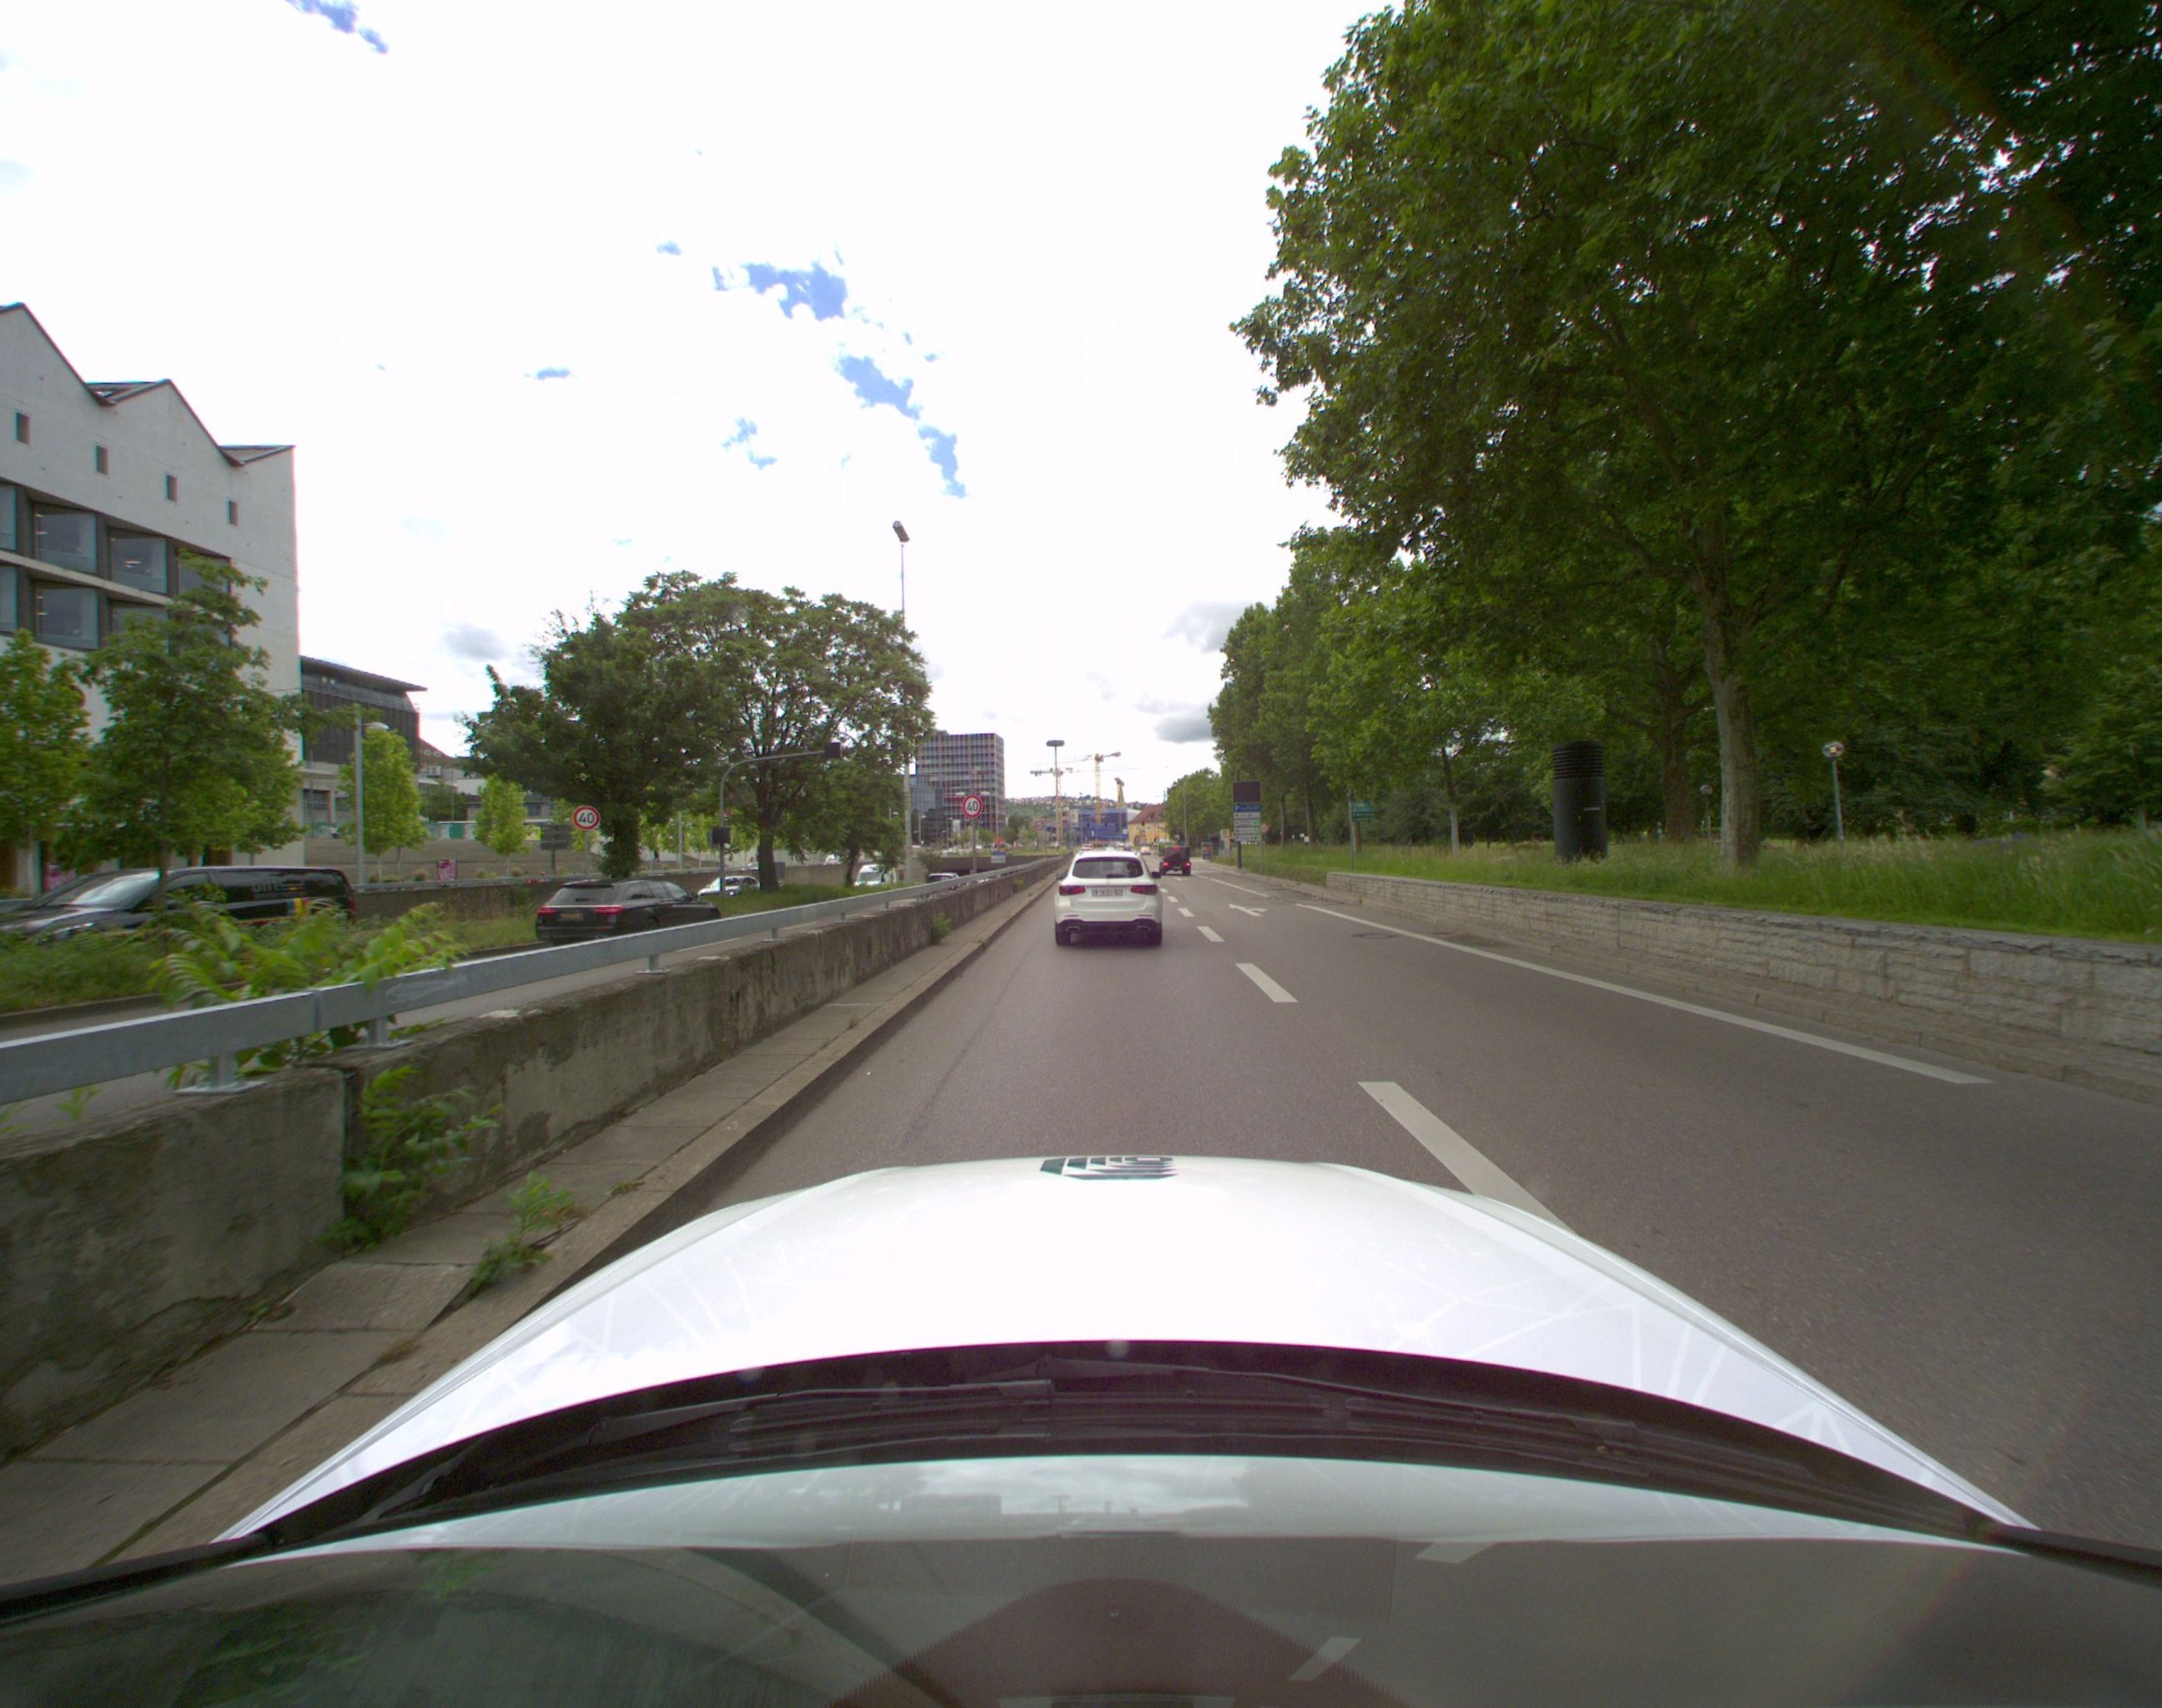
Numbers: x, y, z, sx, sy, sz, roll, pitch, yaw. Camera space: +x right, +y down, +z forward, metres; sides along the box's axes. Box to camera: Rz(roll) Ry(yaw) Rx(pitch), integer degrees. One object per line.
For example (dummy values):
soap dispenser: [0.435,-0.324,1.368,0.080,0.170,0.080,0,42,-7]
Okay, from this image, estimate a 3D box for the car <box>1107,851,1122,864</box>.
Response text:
car: [4.776,0.465,117.360,1.987,1.781,3.999,1,-1,0]

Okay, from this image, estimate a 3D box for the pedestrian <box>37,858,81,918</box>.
pedestrian: [-34.845,1.164,27.773,0.630,2.014,0.630,1,-1,1]

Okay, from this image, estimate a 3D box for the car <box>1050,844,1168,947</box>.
car: [0.468,0.718,15.380,1.934,1.684,3.999,0,-1,0]

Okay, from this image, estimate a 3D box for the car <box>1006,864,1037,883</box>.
car: [-4.262,1.366,58.727,1.712,1.292,4.003,1,0,3]

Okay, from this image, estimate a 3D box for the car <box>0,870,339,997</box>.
car: [-15.636,1.202,13.839,1.850,1.717,4.447,-2,0,2]

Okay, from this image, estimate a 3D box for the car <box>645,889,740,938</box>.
car: [-16.598,2.495,35.065,1.850,1.717,4.446,-2,0,1]

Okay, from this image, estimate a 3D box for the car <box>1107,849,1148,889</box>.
car: [1.975,0.654,35.449,1.666,1.628,4.001,1,-1,2]

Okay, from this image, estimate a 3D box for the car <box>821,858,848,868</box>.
car: [-29.797,1.124,98.586,1.803,1.119,4.806,1,-1,0]

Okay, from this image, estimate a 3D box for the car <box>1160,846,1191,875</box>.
car: [6.456,0.448,56.034,1.968,1.893,4.713,1,-1,5]

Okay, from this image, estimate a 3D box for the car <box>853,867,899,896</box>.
car: [-16.089,2.112,64.279,1.968,2.165,6.213,0,-1,1]

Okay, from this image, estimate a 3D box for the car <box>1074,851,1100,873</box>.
car: [0.469,0.604,62.123,1.916,1.602,4.000,0,0,0]

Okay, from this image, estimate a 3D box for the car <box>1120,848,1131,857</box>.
car: [8.088,-0.232,147.991,1.714,1.585,3.998,1,0,-1]

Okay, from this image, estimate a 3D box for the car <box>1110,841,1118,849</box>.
car: [8.636,-2.321,213.193,1.794,2.014,3.999,1,-1,0]

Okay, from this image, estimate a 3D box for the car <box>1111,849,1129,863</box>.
car: [4.831,0.230,100.881,1.987,1.662,3.999,1,-1,0]

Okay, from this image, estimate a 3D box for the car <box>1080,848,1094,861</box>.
car: [0.944,0.115,122.226,1.986,1.757,4.002,1,-1,2]

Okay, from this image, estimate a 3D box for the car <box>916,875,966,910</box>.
car: [-6.406,1.738,37.542,1.622,1.509,3.540,0,-1,1]

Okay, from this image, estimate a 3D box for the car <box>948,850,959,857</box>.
car: [-26.222,-0.002,167.780,1.829,1.360,3.862,1,-1,-4]

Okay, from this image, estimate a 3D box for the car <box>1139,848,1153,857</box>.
car: [11.790,-0.247,147.837,1.989,1.618,3.994,1,-1,-4]

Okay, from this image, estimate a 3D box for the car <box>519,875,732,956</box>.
car: [-9.569,1.218,17.680,1.806,1.460,4.863,0,-1,1]

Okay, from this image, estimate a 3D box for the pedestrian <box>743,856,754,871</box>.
pedestrian: [-35.296,1.001,86.556,0.732,1.640,1.005,-1,0,0]

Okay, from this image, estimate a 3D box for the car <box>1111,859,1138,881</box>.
car: [3.314,1.193,63.185,1.916,1.602,4.000,0,0,0]

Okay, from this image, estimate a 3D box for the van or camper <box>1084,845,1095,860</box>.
van or camper: [1.430,-0.230,140.367,1.916,2.320,3.999,0,-2,0]
